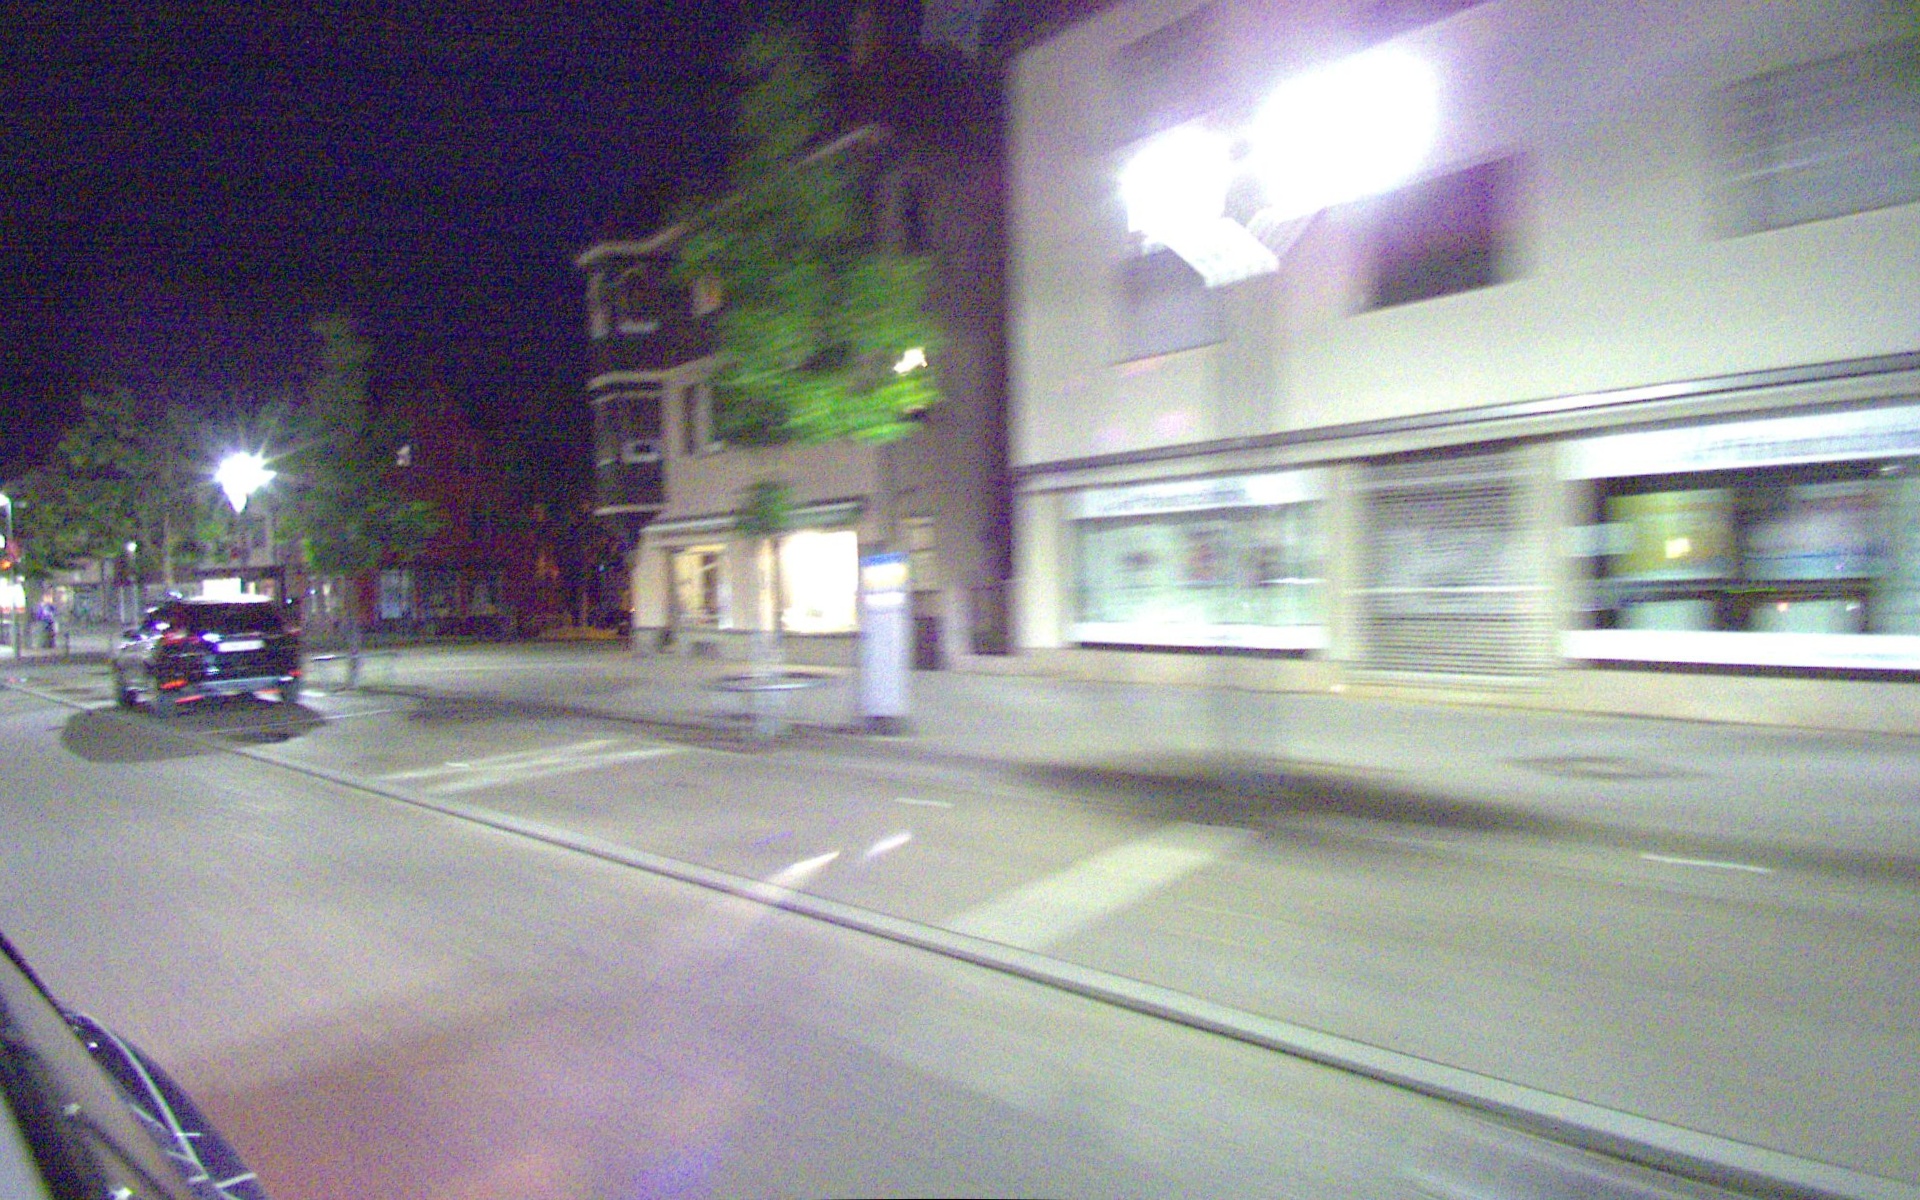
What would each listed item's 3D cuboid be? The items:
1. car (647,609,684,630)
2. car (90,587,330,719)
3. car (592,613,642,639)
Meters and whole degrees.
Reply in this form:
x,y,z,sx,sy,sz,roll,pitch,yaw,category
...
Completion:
x,y,z,sx,sy,sz,roll,pitch,yaw,category
-20.460,1.381,70.348,1.793,1.386,4.005,0,-1,-6,car
-11.942,0.724,15.970,5.001,1.703,1.997,-1,2,42,car
-18.953,1.416,56.127,1.793,1.386,4.005,0,-1,-6,car
